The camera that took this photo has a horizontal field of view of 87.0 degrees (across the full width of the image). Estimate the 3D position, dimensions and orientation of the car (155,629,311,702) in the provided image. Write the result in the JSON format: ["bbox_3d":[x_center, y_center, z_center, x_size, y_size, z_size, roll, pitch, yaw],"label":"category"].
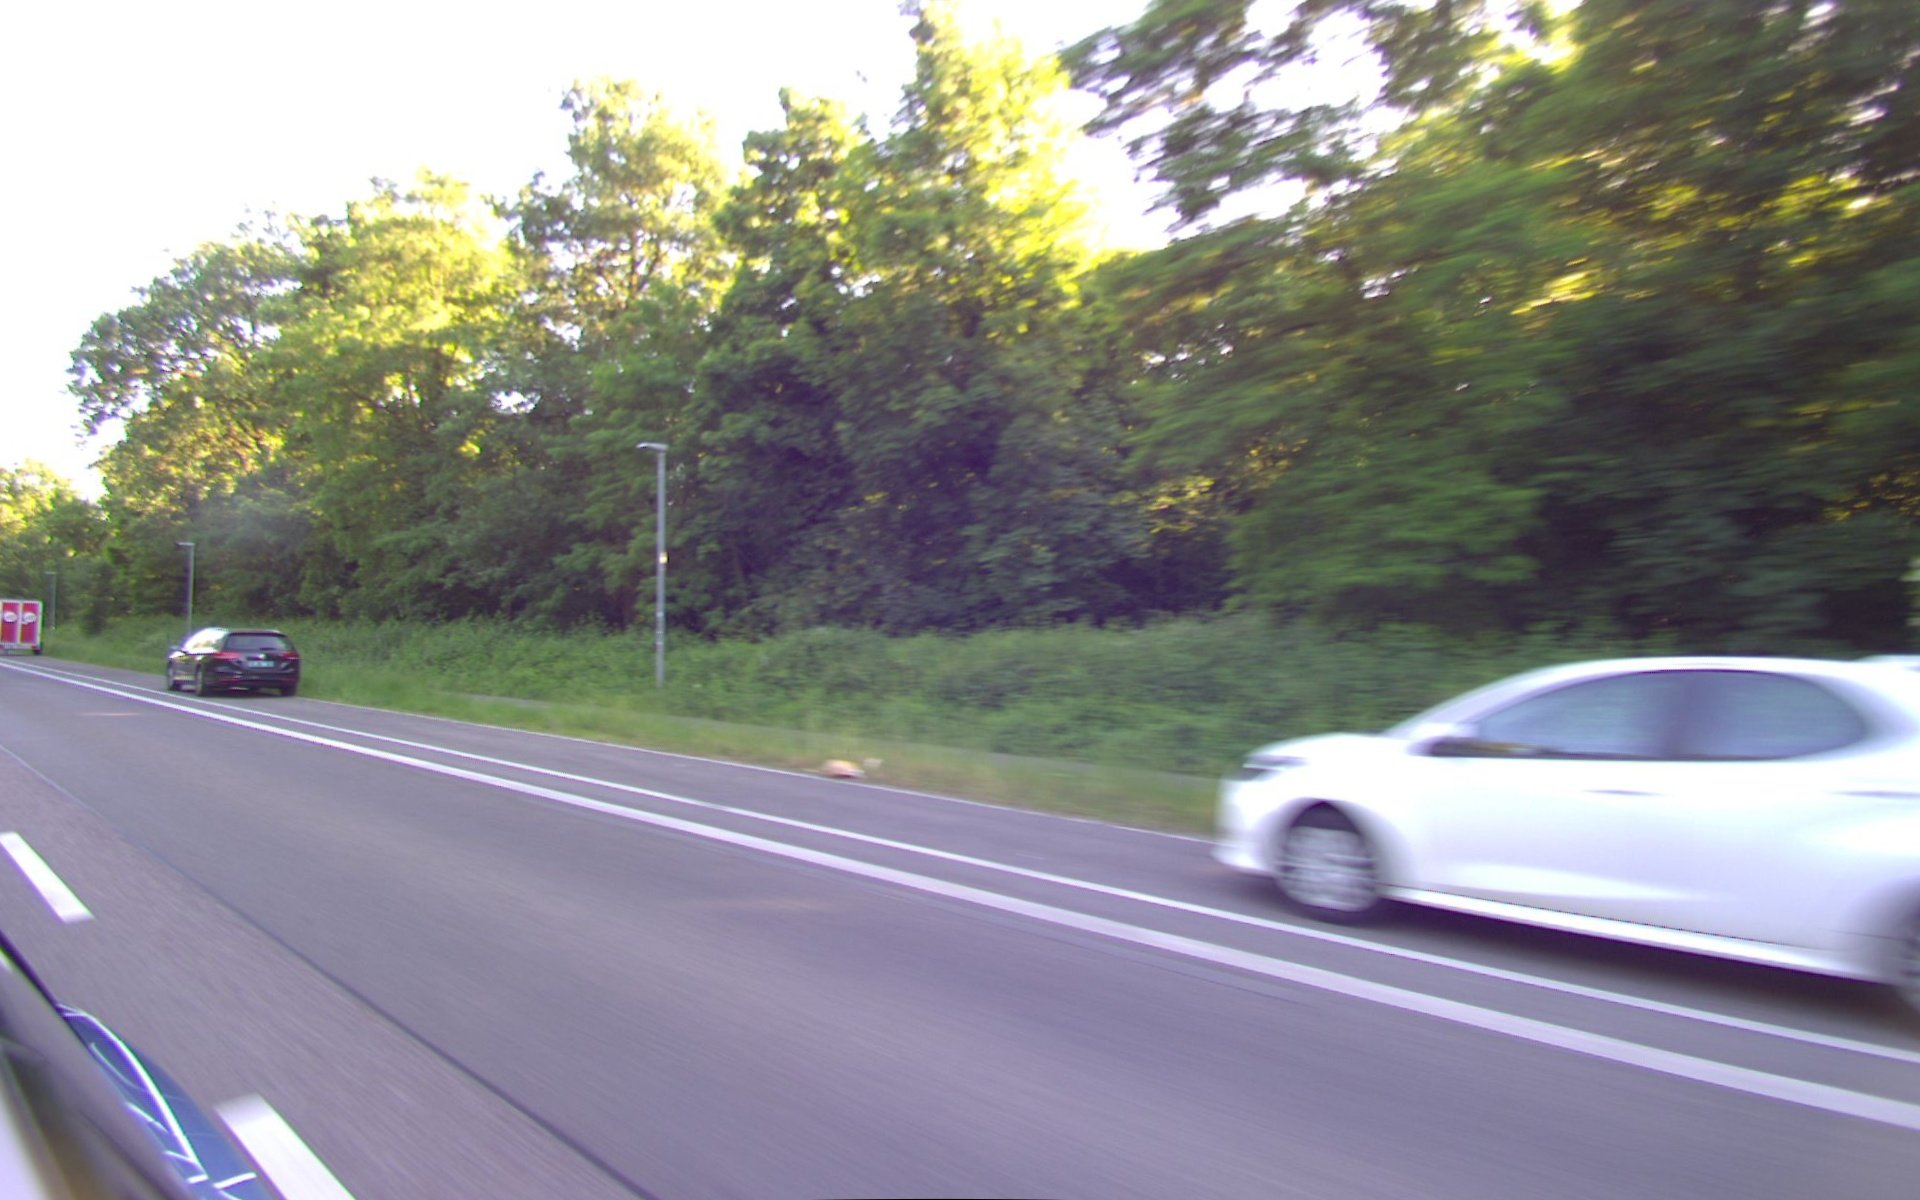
[{"bbox_3d":[-16.465,1.384,22.830,4.782,1.475,1.835,-1,-2,41],"label":"car"}]

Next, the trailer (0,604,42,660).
[{"bbox_3d":[-45.923,1.537,48.814,4.084,2.641,1.972,-1,-2,41],"label":"trailer"}]

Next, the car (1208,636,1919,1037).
[{"bbox_3d":[3.524,0.955,5.026,4.069,1.462,1.847,-1,-5,41],"label":"car"}]
